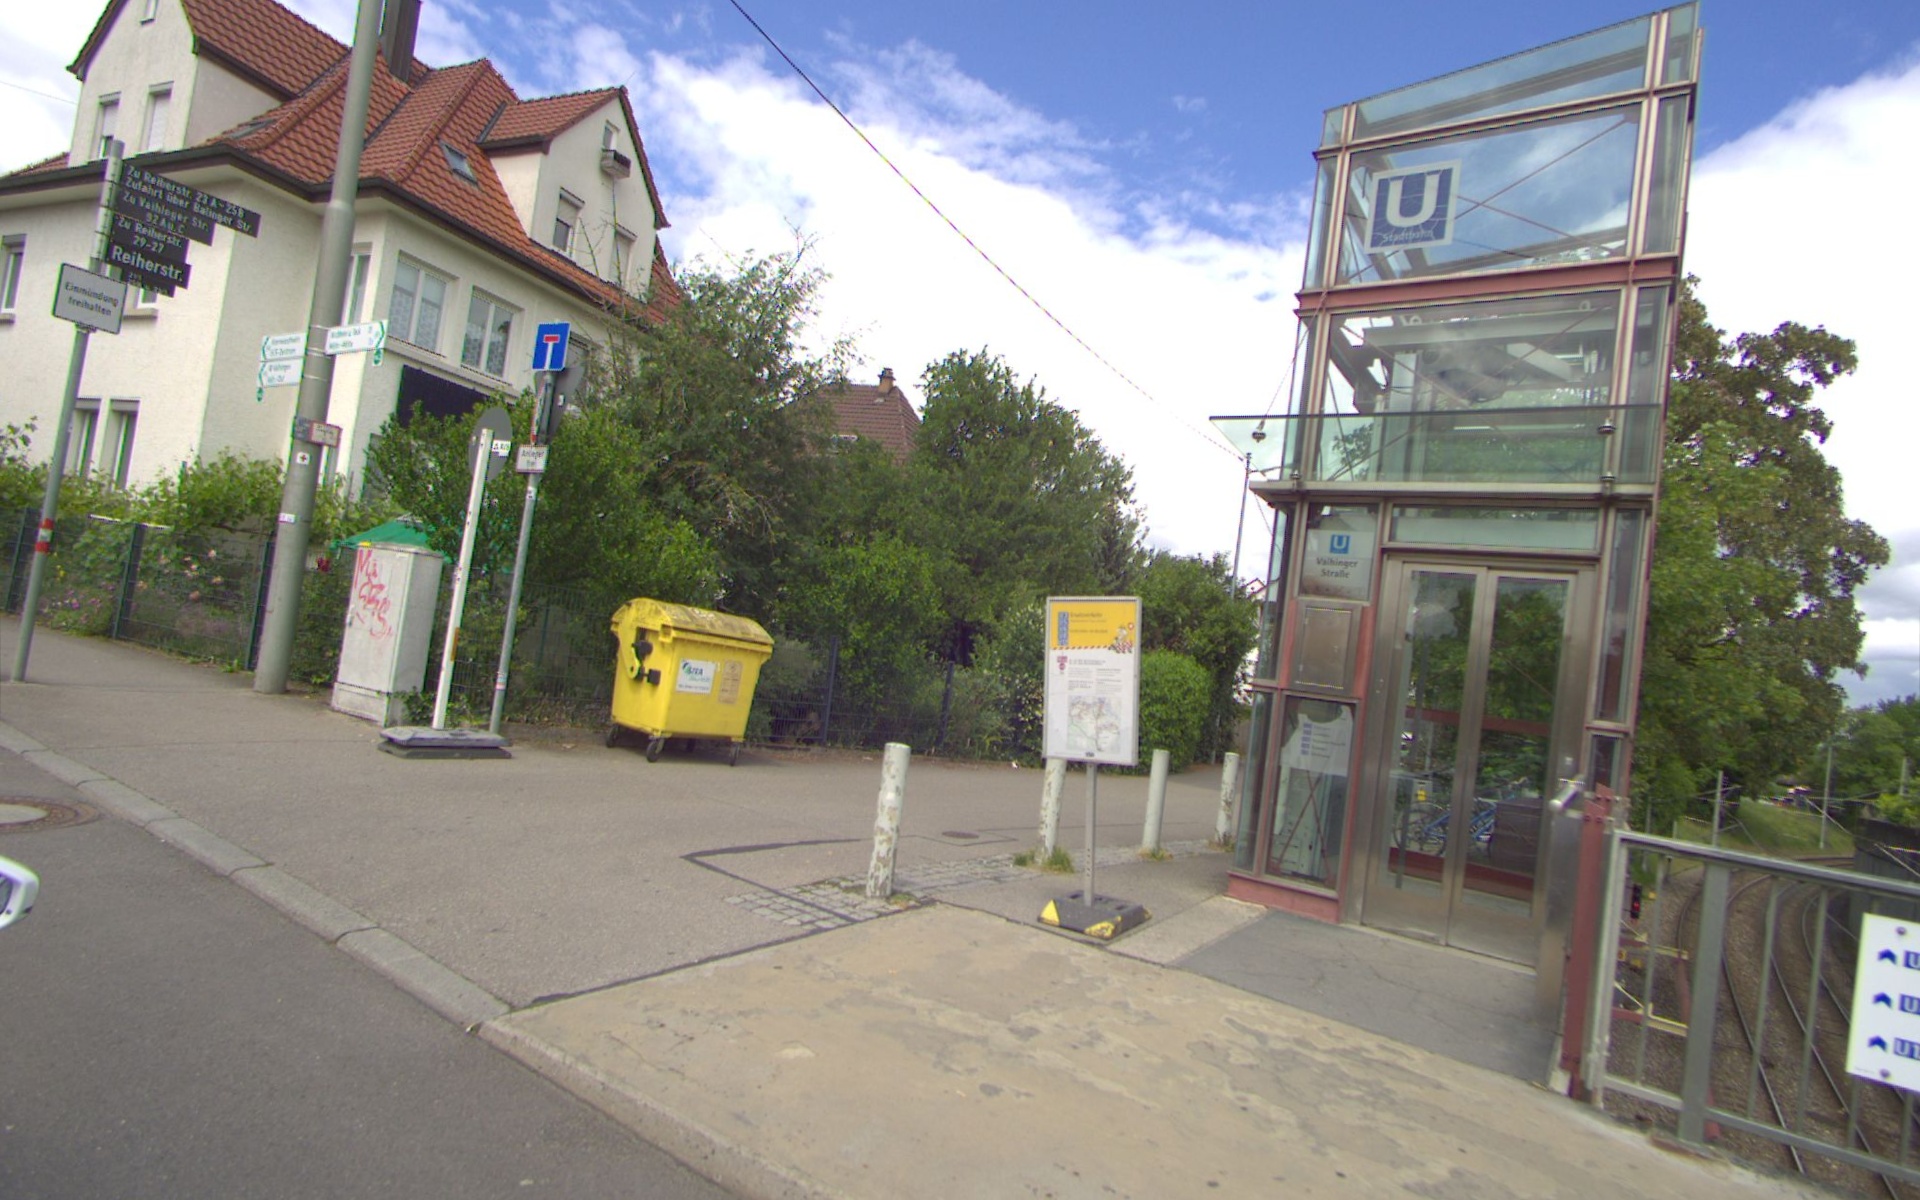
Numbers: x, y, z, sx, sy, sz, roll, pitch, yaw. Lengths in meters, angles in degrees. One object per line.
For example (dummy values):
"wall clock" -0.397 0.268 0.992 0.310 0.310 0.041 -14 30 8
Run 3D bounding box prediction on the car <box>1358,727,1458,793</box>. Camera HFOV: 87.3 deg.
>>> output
"car" 12.517 4.423 27.974 1.967 1.390 3.999 7 -4 31

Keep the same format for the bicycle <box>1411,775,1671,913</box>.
"bicycle" 6.552 2.711 11.452 2.432 0.991 0.567 6 -3 36

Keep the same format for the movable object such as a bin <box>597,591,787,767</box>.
"movable object such as a bin" -2.591 0.777 9.791 0.990 1.486 1.268 6 -4 41

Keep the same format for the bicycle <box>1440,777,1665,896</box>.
"bicycle" 7.738 3.048 13.232 2.432 0.991 0.567 6 -3 36

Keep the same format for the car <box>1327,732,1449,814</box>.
"car" 10.001 3.967 23.342 1.967 1.390 3.999 7 -4 31

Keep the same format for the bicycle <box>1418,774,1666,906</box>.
"bicycle" 6.906 2.808 12.038 2.432 0.991 0.567 6 -3 36

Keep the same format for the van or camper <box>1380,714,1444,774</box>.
"van or camper" 22.082 7.021 49.015 2.088 2.424 4.455 7 -4 31
